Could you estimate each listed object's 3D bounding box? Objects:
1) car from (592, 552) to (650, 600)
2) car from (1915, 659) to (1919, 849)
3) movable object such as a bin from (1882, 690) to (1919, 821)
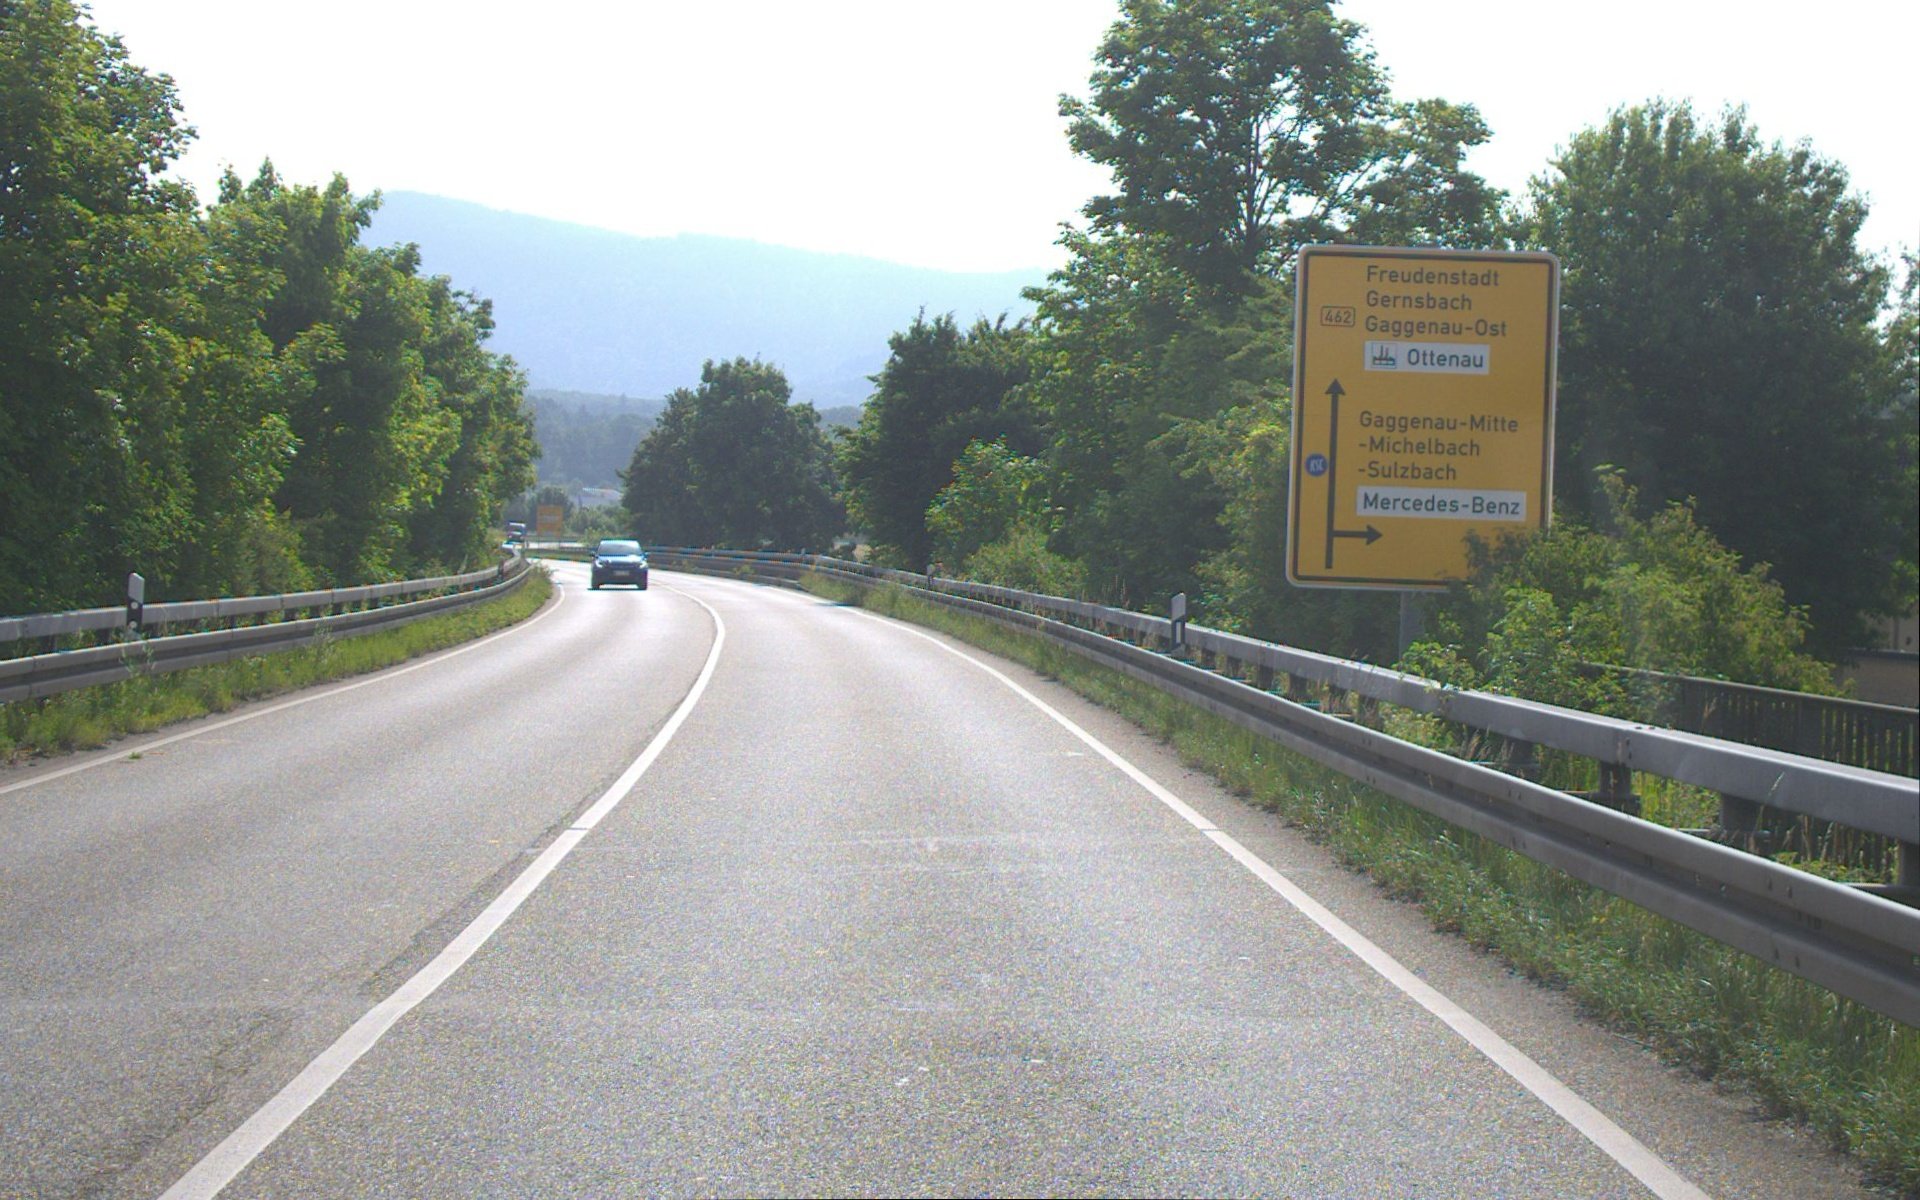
[{"bbox_3d":[-11.153,-0.799,113.273,1.807,1.555,3.993,0,0,-4],"label":"car"},{"bbox_3d":[16.593,2.246,47.516,6.072,2.679,2.313,2,-3,-2],"label":"car"},{"bbox_3d":[16.484,2.547,55.213,2.783,2.007,1.587,3,1,-2],"label":"movable object such as a bin"}]
